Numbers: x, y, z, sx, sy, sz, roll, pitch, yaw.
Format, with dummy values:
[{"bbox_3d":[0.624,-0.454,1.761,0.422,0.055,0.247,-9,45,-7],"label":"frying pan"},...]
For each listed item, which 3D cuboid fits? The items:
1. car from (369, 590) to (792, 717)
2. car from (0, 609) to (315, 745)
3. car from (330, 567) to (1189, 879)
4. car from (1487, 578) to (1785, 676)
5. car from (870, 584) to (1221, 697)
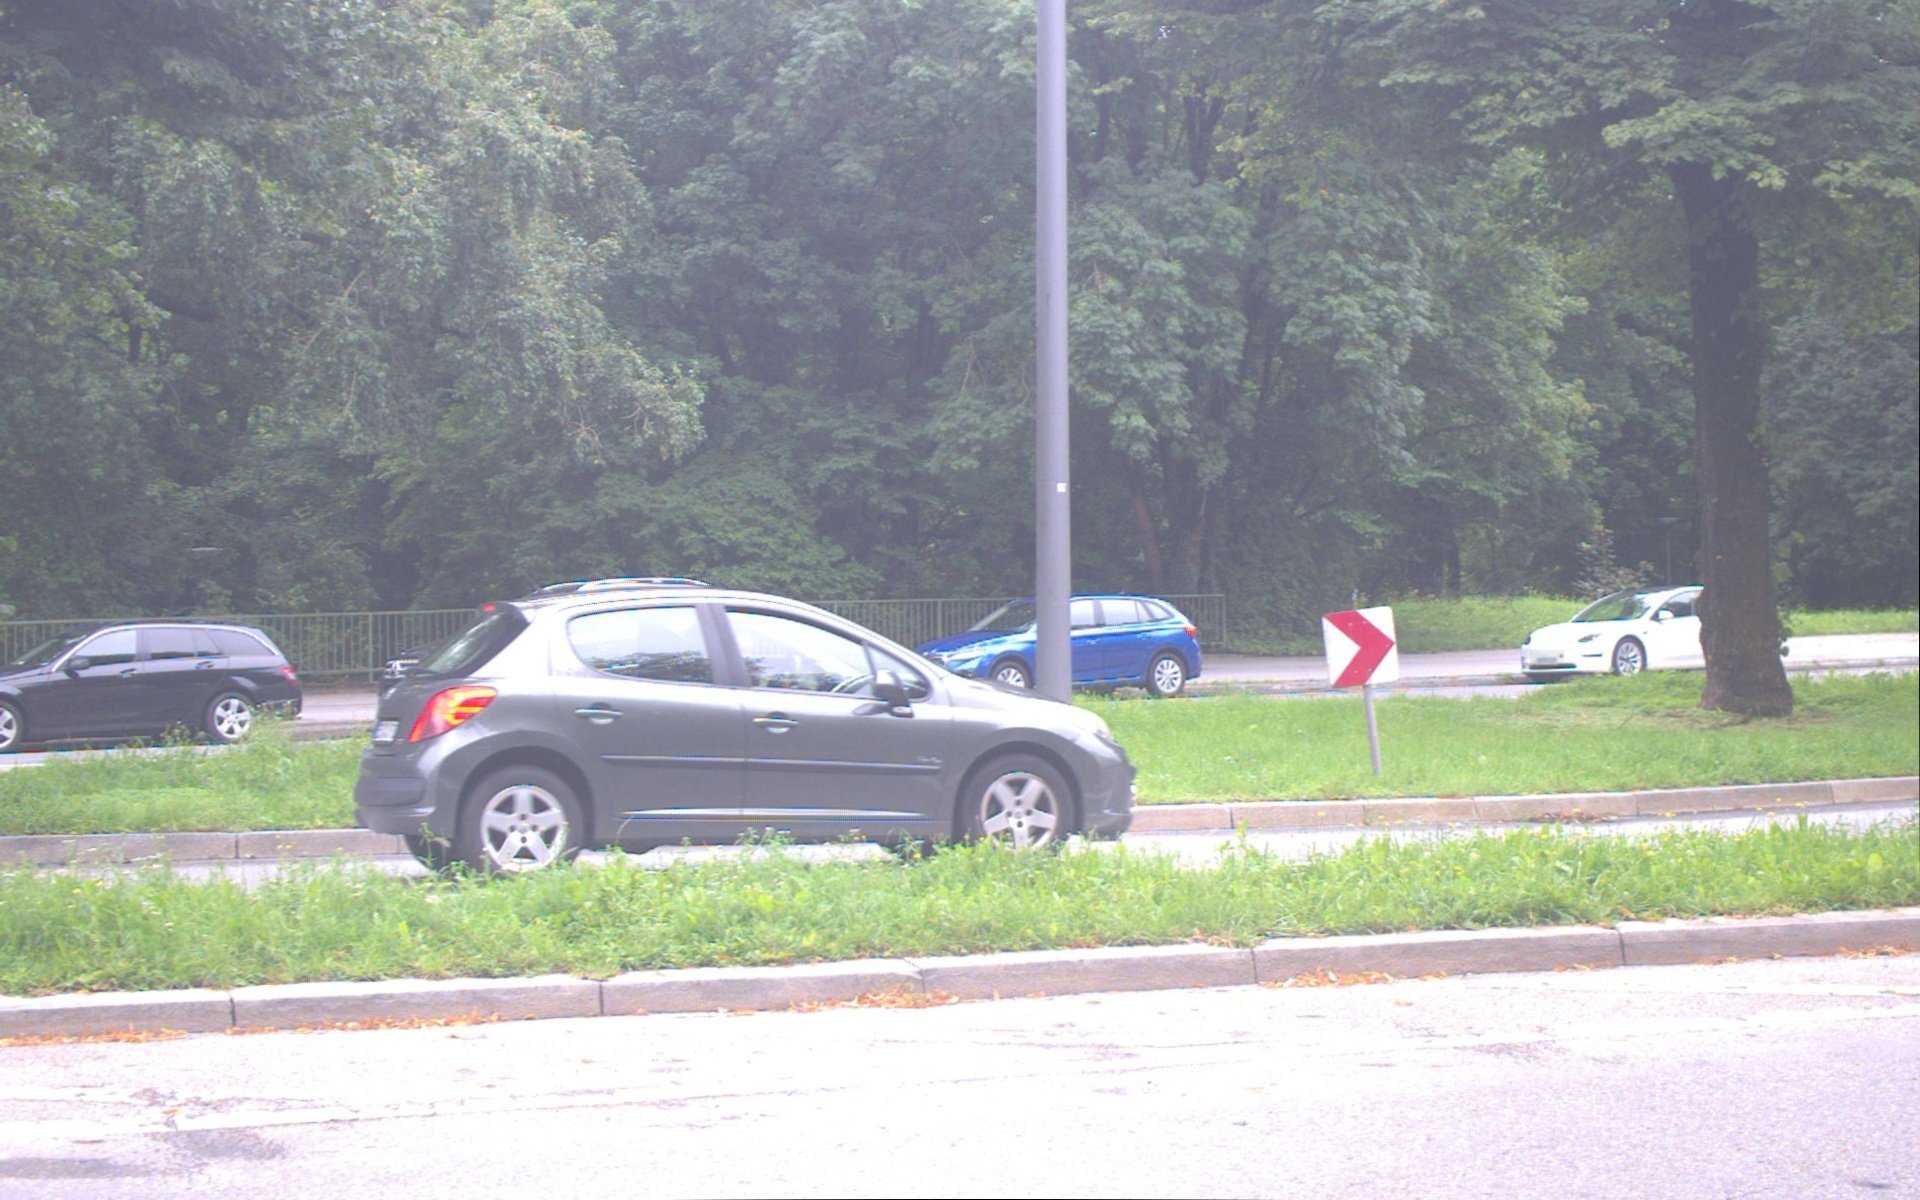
[{"bbox_3d":[-4.601,0.633,41.995,4.754,1.441,2.000,0,-1,-35],"label":"car"},{"bbox_3d":[-9.707,0.853,38.833,4.304,1.441,2.000,0,-1,-35],"label":"car"},{"bbox_3d":[-1.044,0.568,17.639,4.060,1.456,1.765,0,0,-20],"label":"car"},{"bbox_3d":[10.392,0.406,52.740,4.410,1.441,1.999,0,-1,-36],"label":"car"},{"bbox_3d":[1.173,0.528,46.276,4.410,1.441,1.999,0,-1,-36],"label":"car"}]
